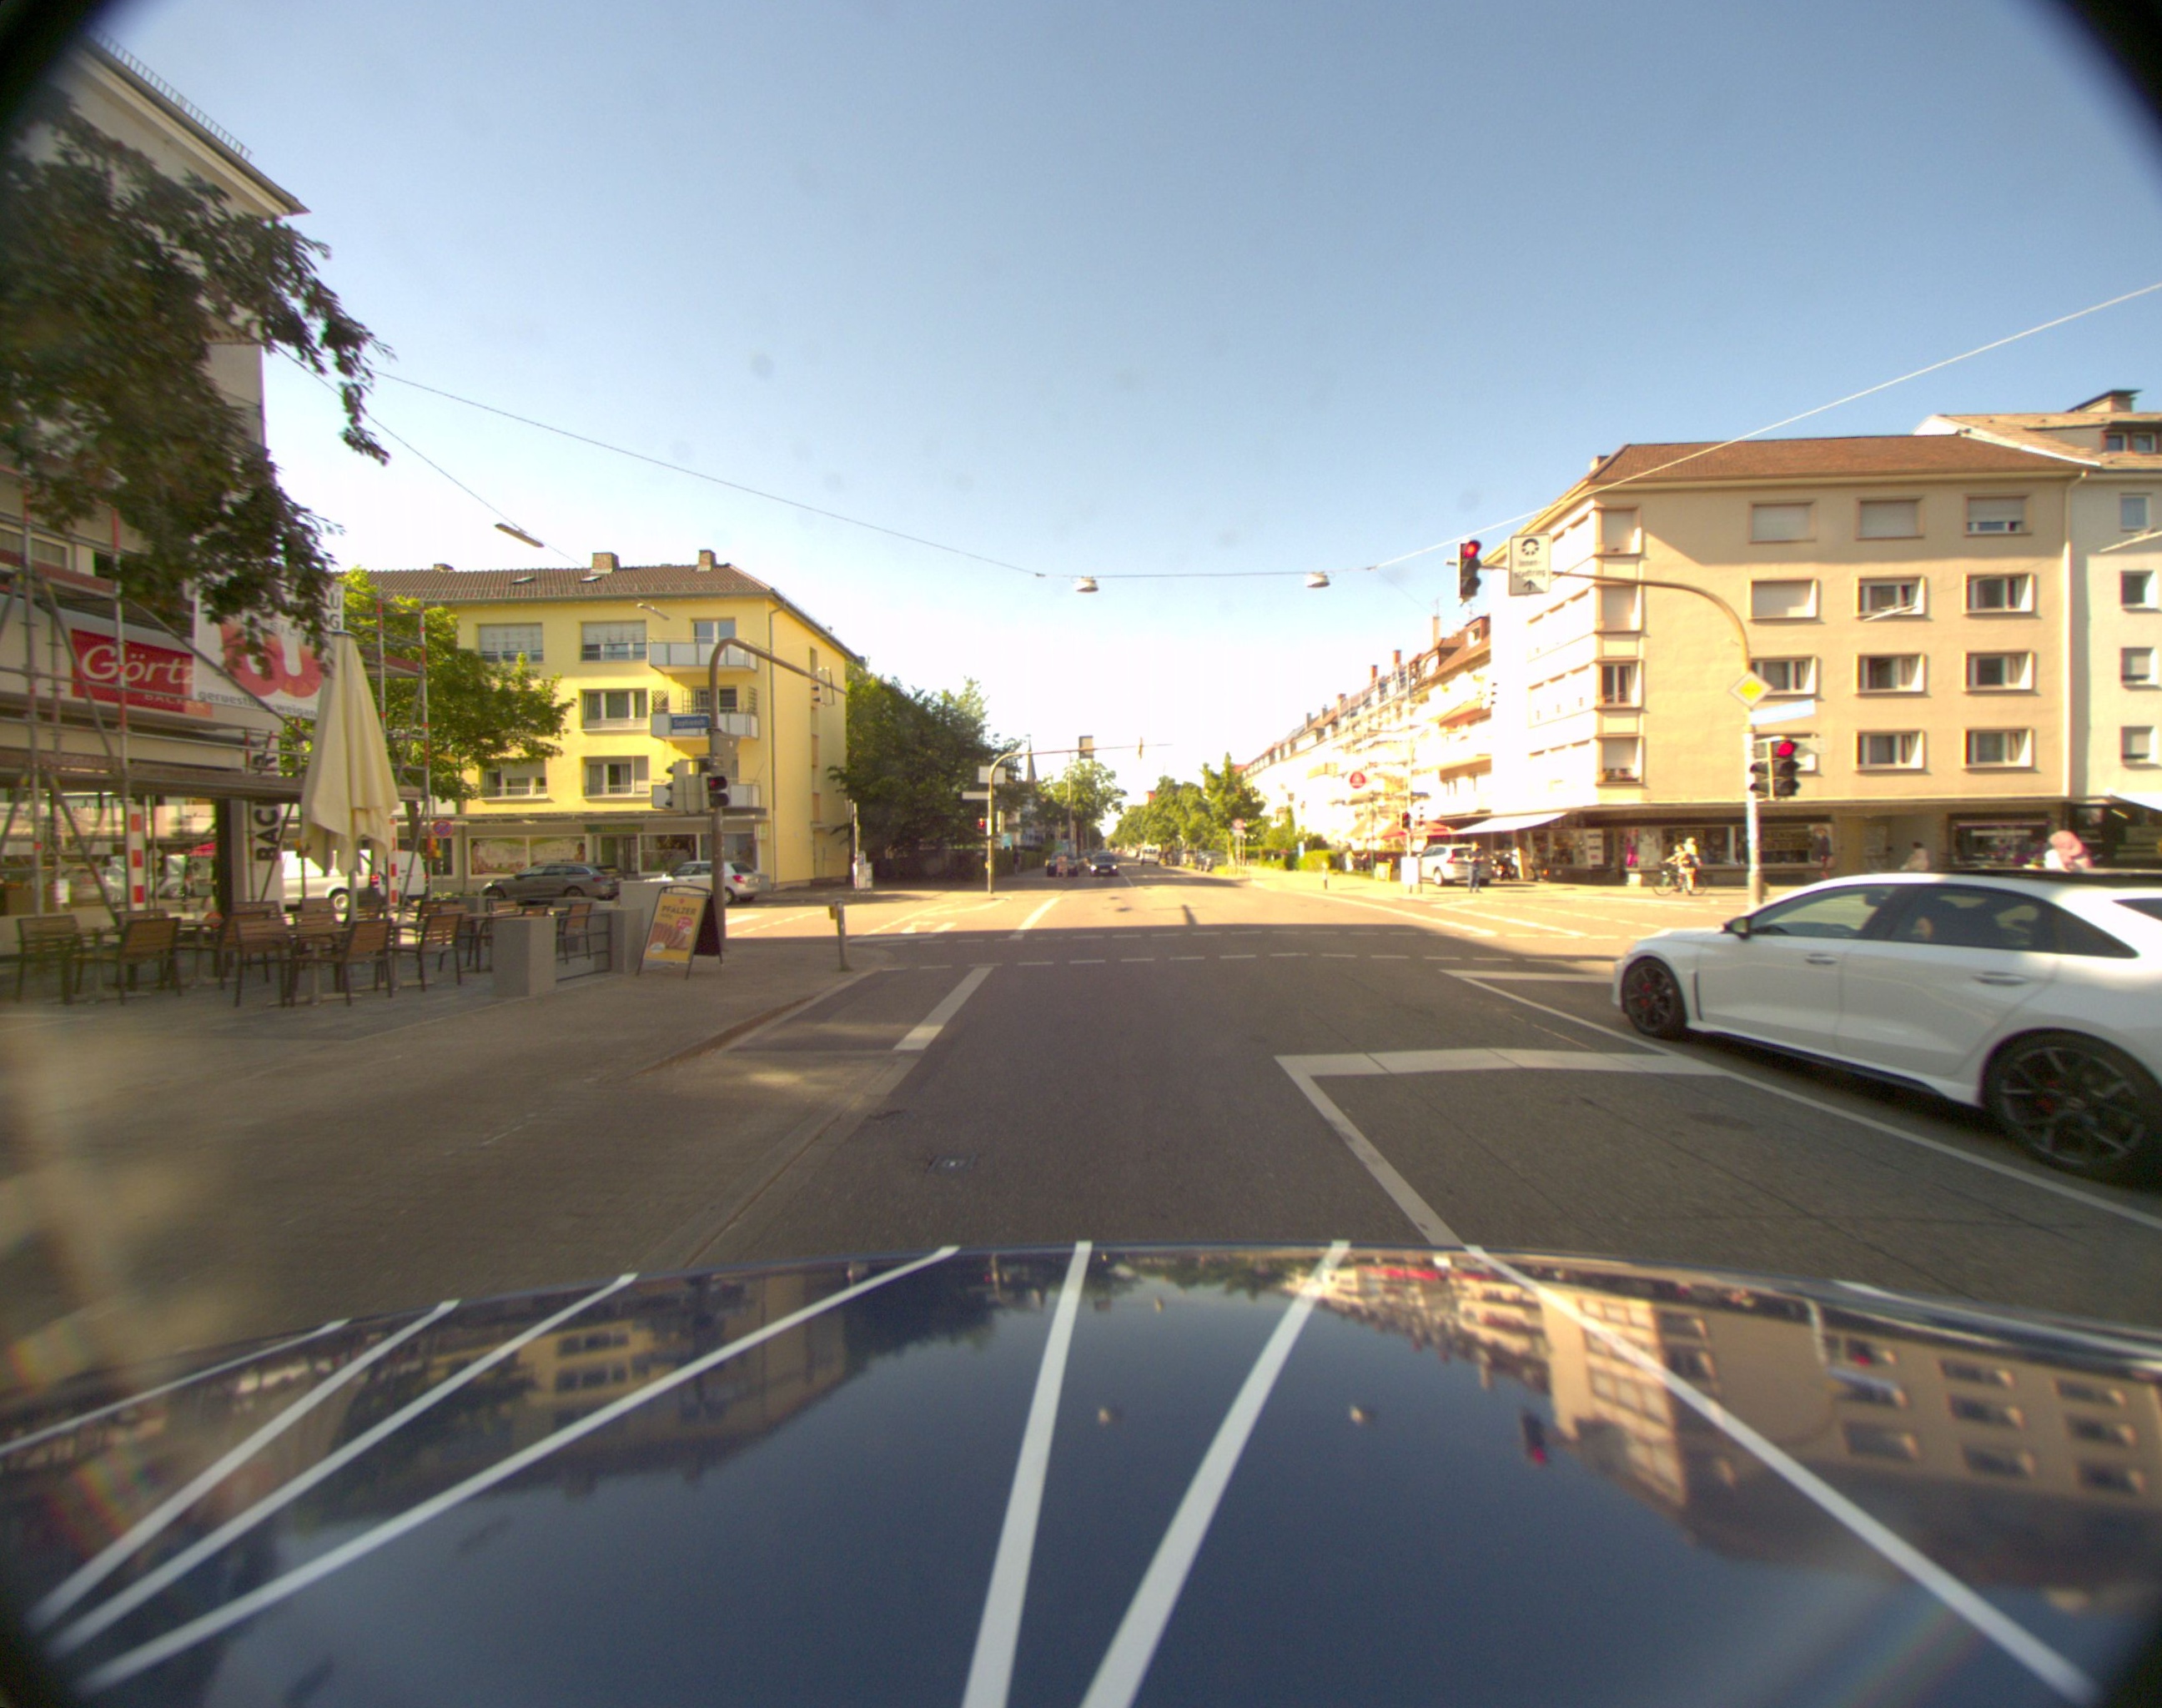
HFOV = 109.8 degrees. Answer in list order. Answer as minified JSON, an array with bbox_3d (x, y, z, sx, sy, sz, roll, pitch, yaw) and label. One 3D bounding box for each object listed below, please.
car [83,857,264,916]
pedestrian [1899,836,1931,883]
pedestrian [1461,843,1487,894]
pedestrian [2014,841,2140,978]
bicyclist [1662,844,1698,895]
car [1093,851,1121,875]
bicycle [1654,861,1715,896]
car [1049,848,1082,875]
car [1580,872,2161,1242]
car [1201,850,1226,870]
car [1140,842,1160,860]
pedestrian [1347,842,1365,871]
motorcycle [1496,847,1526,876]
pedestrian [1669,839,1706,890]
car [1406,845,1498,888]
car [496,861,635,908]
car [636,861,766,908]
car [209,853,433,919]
[{"bbox_3d":[-30.962,1.092,25.989,4.173,1.838,1.835,-1,1,5],"label":"car"},{"bbox_3d":[29.516,0.177,26.904,0.564,1.636,0.727,-2,2,-39],"label":"pedestrian"},{"bbox_3d":[13.425,0.475,25.978,0.671,1.709,0.584,-1,2,11],"label":"pedestrian"},{"bbox_3d":[12.454,0.667,9.525,0.659,1.649,0.682,-1,1,3],"label":"pedestrian"},{"bbox_3d":[18.900,0.475,23.988,0.685,1.598,0.578,-1,1,0],"label":"bicyclist"},{"bbox_3d":[1.668,0.524,47.690,1.654,1.348,4.304,-1,1,2],"label":"car"},{"bbox_3d":[19.029,0.761,23.969,1.565,1.070,0.449,-1,1,0],"label":"bicycle"},{"bbox_3d":[-0.961,0.435,48.263,1.822,1.542,4.304,-1,1,2],"label":"car"},{"bbox_3d":[5.366,0.909,4.633,1.702,1.398,4.506,1,1,1],"label":"car"},{"bbox_3d":[9.436,0.379,54.143,1.322,1.348,3.093,-1,1,2],"label":"car"},{"bbox_3d":[7.706,-0.403,85.155,1.965,1.911,5.496,-1,1,2],"label":"car"},{"bbox_3d":[14.409,0.124,39.783,0.643,1.502,0.535,-5,1,0],"label":"pedestrian"},{"bbox_3d":[20.849,0.357,36.896,0.570,1.360,1.763,-1,1,4],"label":"motorcycle"},{"bbox_3d":[20.893,0.342,26.196,0.728,1.725,0.683,-1,2,0],"label":"pedestrian"},{"bbox_3d":[14.842,0.444,30.687,1.764,1.613,4.304,-1,1,2],"label":"car"},{"bbox_3d":[-17.582,1.028,25.997,3.644,1.473,1.579,-1,1,2],"label":"car"},{"bbox_3d":[-12.863,1.016,25.863,3.644,1.473,1.481,-1,1,2],"label":"car"},{"bbox_3d":[-22.940,0.949,23.054,4.961,1.849,1.866,-1,0,1],"label":"car"}]
